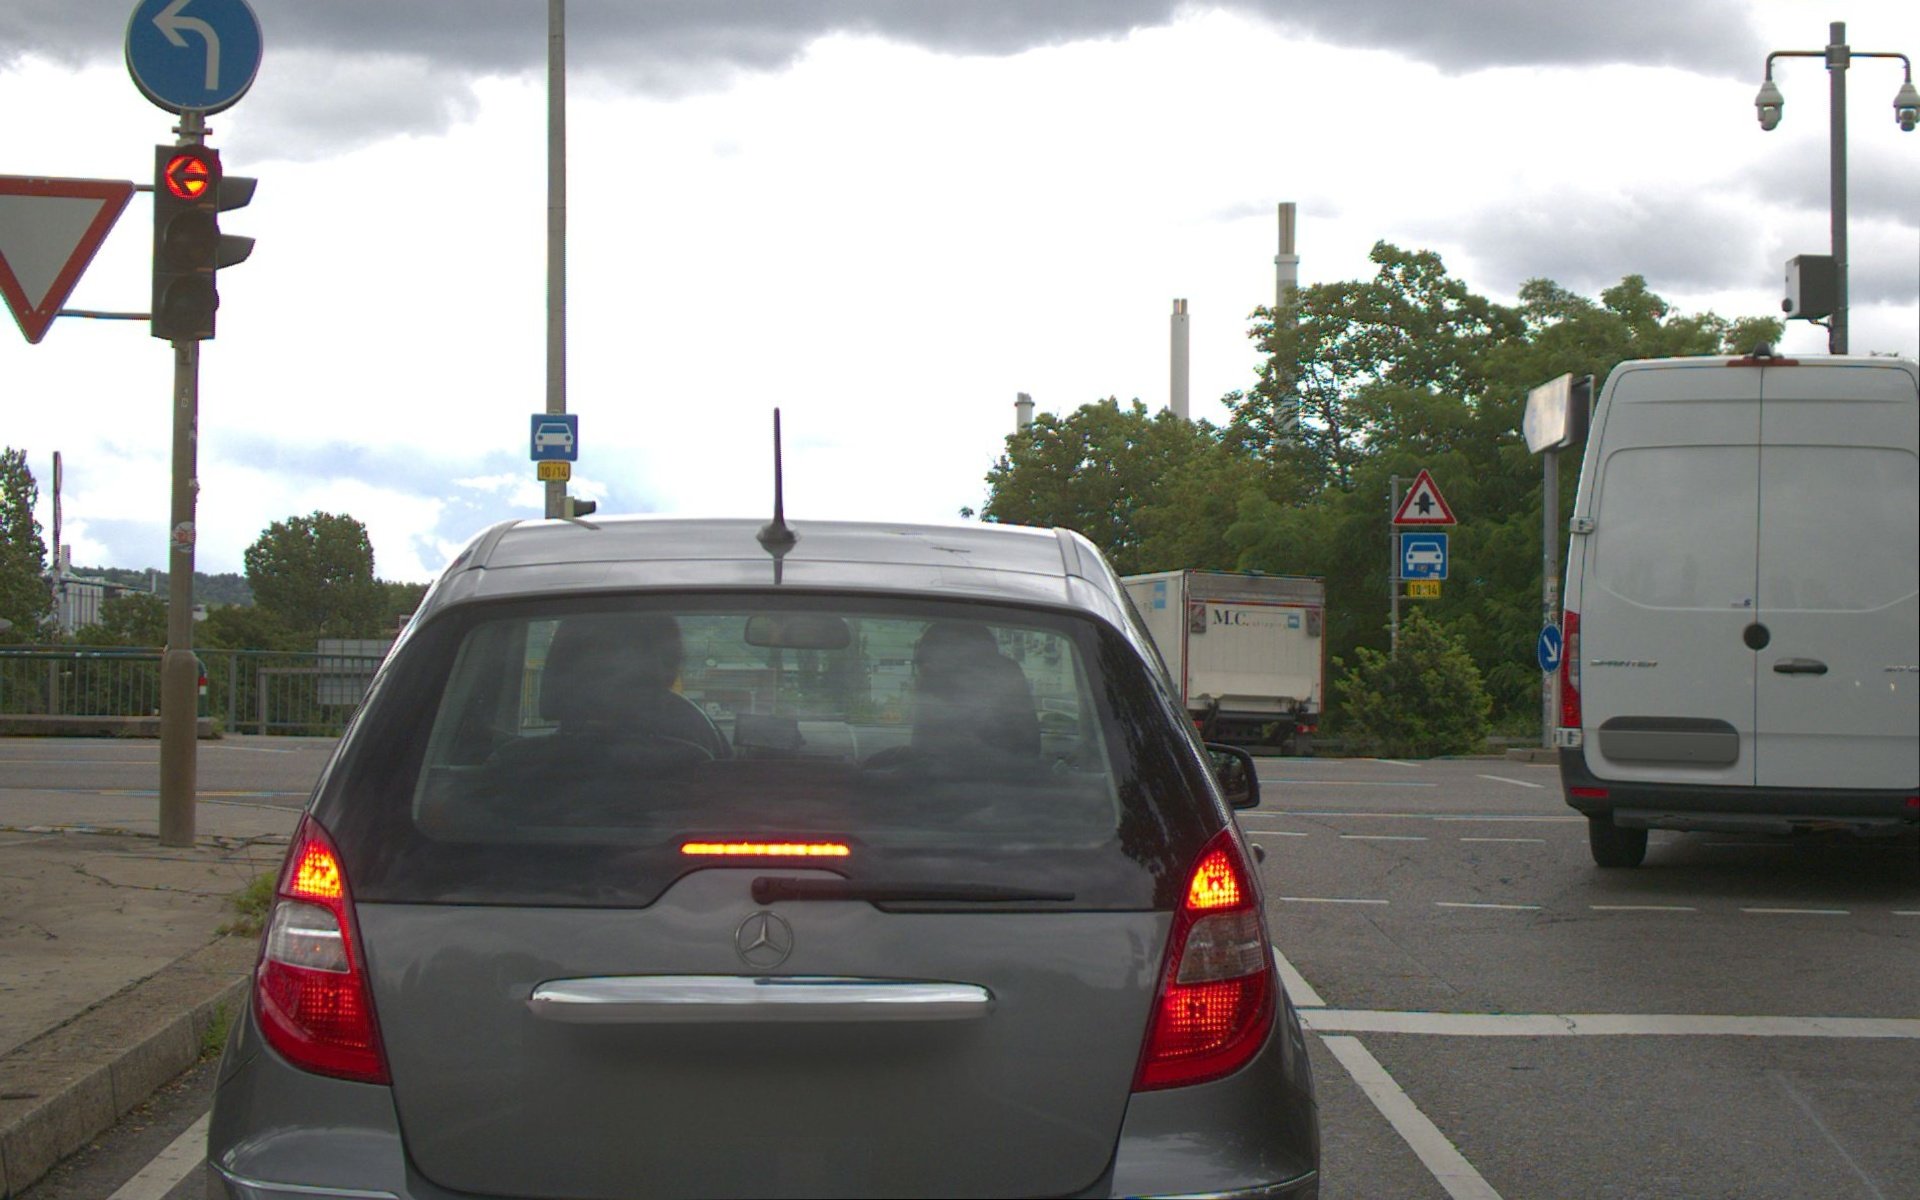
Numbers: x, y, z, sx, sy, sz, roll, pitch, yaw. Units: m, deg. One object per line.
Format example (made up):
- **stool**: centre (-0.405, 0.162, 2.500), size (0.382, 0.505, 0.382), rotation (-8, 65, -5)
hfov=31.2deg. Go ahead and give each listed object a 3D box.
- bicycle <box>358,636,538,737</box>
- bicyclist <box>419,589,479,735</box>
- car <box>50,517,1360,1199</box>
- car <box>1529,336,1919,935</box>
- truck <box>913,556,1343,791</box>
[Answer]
- **bicycle**: centre (-5.970, 0.999, 40.046), size (2.032, 1.121, 0.929), rotation (0, 1, -11)
- **bicyclist**: centre (-5.958, 0.714, 40.055), size (0.653, 1.668, 0.870), rotation (0, 1, -11)
- **car**: centre (-0.312, 0.638, 6.879), size (1.858, 1.582, 4.000), rotation (0, 2, 2)
- **car**: centre (4.781, 0.085, 19.374), size (2.112, 2.774, 6.774), rotation (0, 1, 18)
- **truck**: centre (2.583, 1.060, 58.240), size (2.789, 3.506, 10.250), rotation (-1, 1, -25)
